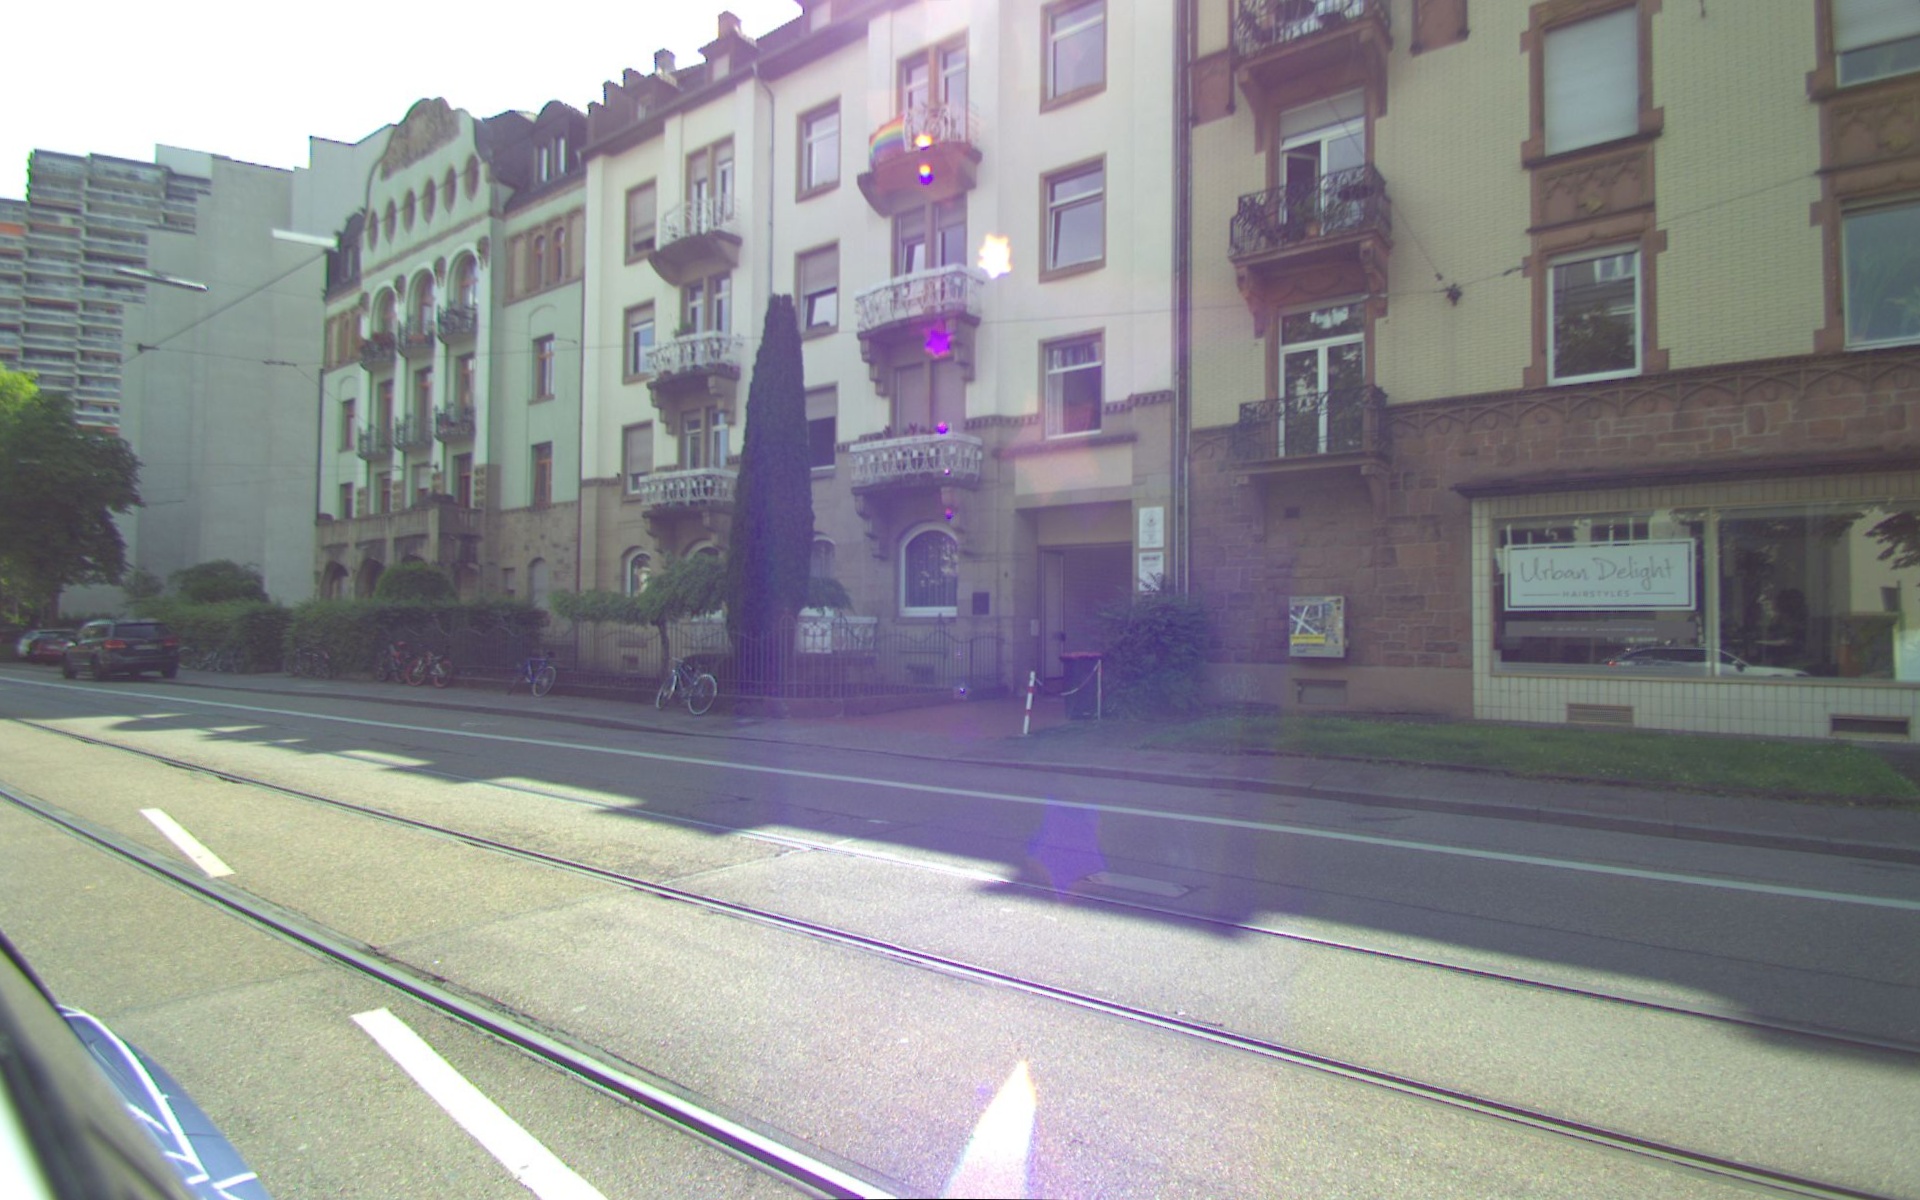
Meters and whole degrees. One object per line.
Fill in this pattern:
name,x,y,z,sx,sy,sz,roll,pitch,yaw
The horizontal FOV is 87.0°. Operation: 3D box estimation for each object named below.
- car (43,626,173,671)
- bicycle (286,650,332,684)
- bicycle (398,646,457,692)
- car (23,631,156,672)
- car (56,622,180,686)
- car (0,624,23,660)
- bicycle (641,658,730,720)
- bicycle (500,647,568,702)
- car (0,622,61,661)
car,-33.089,1.855,39.386,1.608,1.652,3.587,-1,-2,37
bicycle,-17.526,1.786,27.227,1.872,0.803,0.579,0,0,42
bicycle,-12.490,1.592,23.709,1.872,0.993,0.579,0,-2,42
car,-35.383,2.074,41.195,1.633,1.548,3.841,-1,-3,39
car,-24.464,1.527,29.366,4.324,1.724,1.775,-1,-3,37
car,-51.280,2.184,52.536,1.733,1.857,3.619,-1,-3,37
bicycle,-4.845,1.533,17.789,2.068,0.913,0.517,1,-1,45
bicycle,-8.873,1.523,21.044,1.872,1.037,0.532,0,-2,42
car,-48.236,2.074,51.115,1.829,1.940,3.947,-1,-3,39
